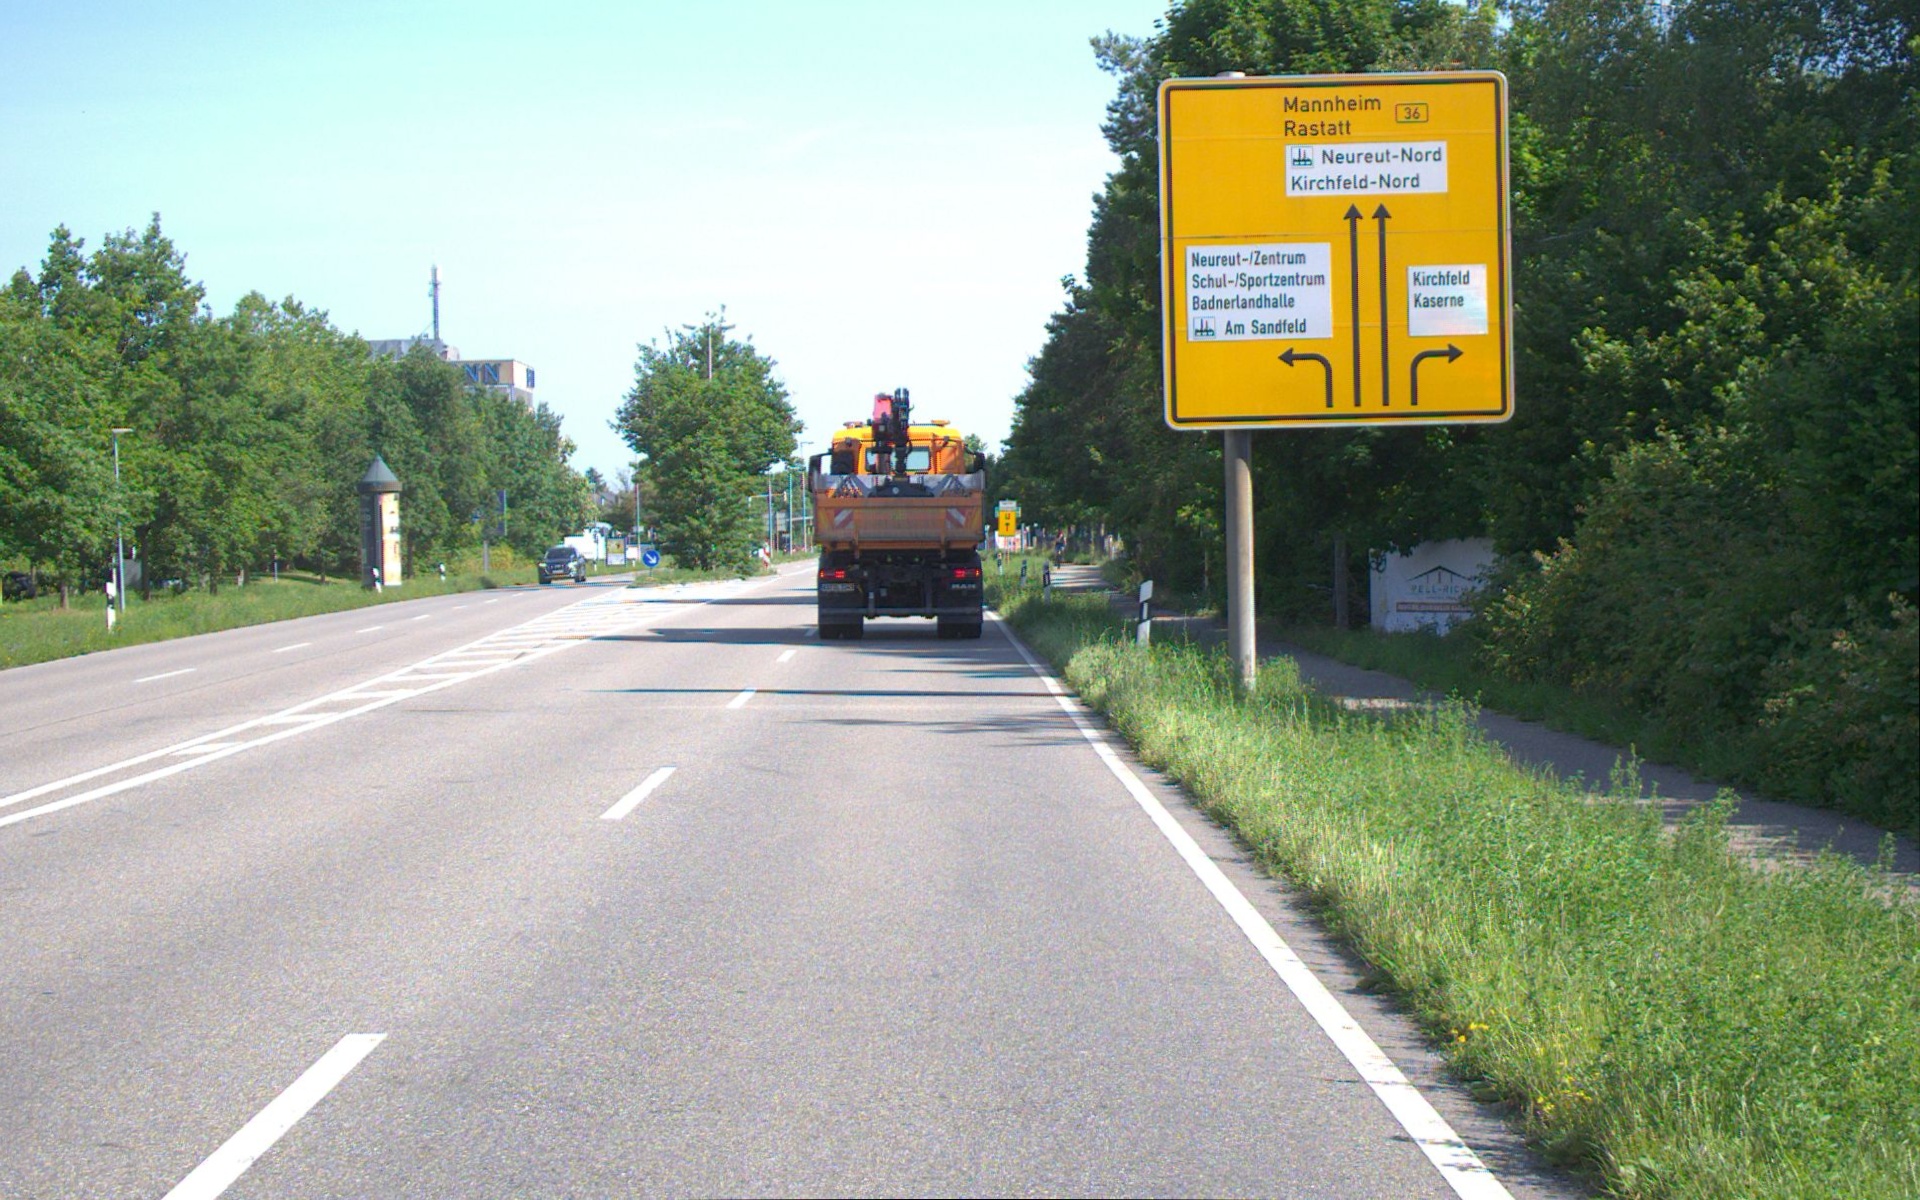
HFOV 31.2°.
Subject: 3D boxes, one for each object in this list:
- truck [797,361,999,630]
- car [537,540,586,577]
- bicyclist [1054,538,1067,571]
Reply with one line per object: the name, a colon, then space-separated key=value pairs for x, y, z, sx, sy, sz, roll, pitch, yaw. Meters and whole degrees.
truck: x=-1.064 y=-1.589 z=53.796 sx=2.871 sy=3.867 sz=7.401 roll=1 pitch=1 yaw=-3
car: x=-18.162 y=-1.897 z=156.739 sx=1.800 sy=1.566 sz=4.000 roll=-2 pitch=1 yaw=-1
bicyclist: x=4.729 y=-2.143 z=162.265 sx=0.558 sy=1.552 sz=0.557 roll=-2 pitch=1 yaw=-1
